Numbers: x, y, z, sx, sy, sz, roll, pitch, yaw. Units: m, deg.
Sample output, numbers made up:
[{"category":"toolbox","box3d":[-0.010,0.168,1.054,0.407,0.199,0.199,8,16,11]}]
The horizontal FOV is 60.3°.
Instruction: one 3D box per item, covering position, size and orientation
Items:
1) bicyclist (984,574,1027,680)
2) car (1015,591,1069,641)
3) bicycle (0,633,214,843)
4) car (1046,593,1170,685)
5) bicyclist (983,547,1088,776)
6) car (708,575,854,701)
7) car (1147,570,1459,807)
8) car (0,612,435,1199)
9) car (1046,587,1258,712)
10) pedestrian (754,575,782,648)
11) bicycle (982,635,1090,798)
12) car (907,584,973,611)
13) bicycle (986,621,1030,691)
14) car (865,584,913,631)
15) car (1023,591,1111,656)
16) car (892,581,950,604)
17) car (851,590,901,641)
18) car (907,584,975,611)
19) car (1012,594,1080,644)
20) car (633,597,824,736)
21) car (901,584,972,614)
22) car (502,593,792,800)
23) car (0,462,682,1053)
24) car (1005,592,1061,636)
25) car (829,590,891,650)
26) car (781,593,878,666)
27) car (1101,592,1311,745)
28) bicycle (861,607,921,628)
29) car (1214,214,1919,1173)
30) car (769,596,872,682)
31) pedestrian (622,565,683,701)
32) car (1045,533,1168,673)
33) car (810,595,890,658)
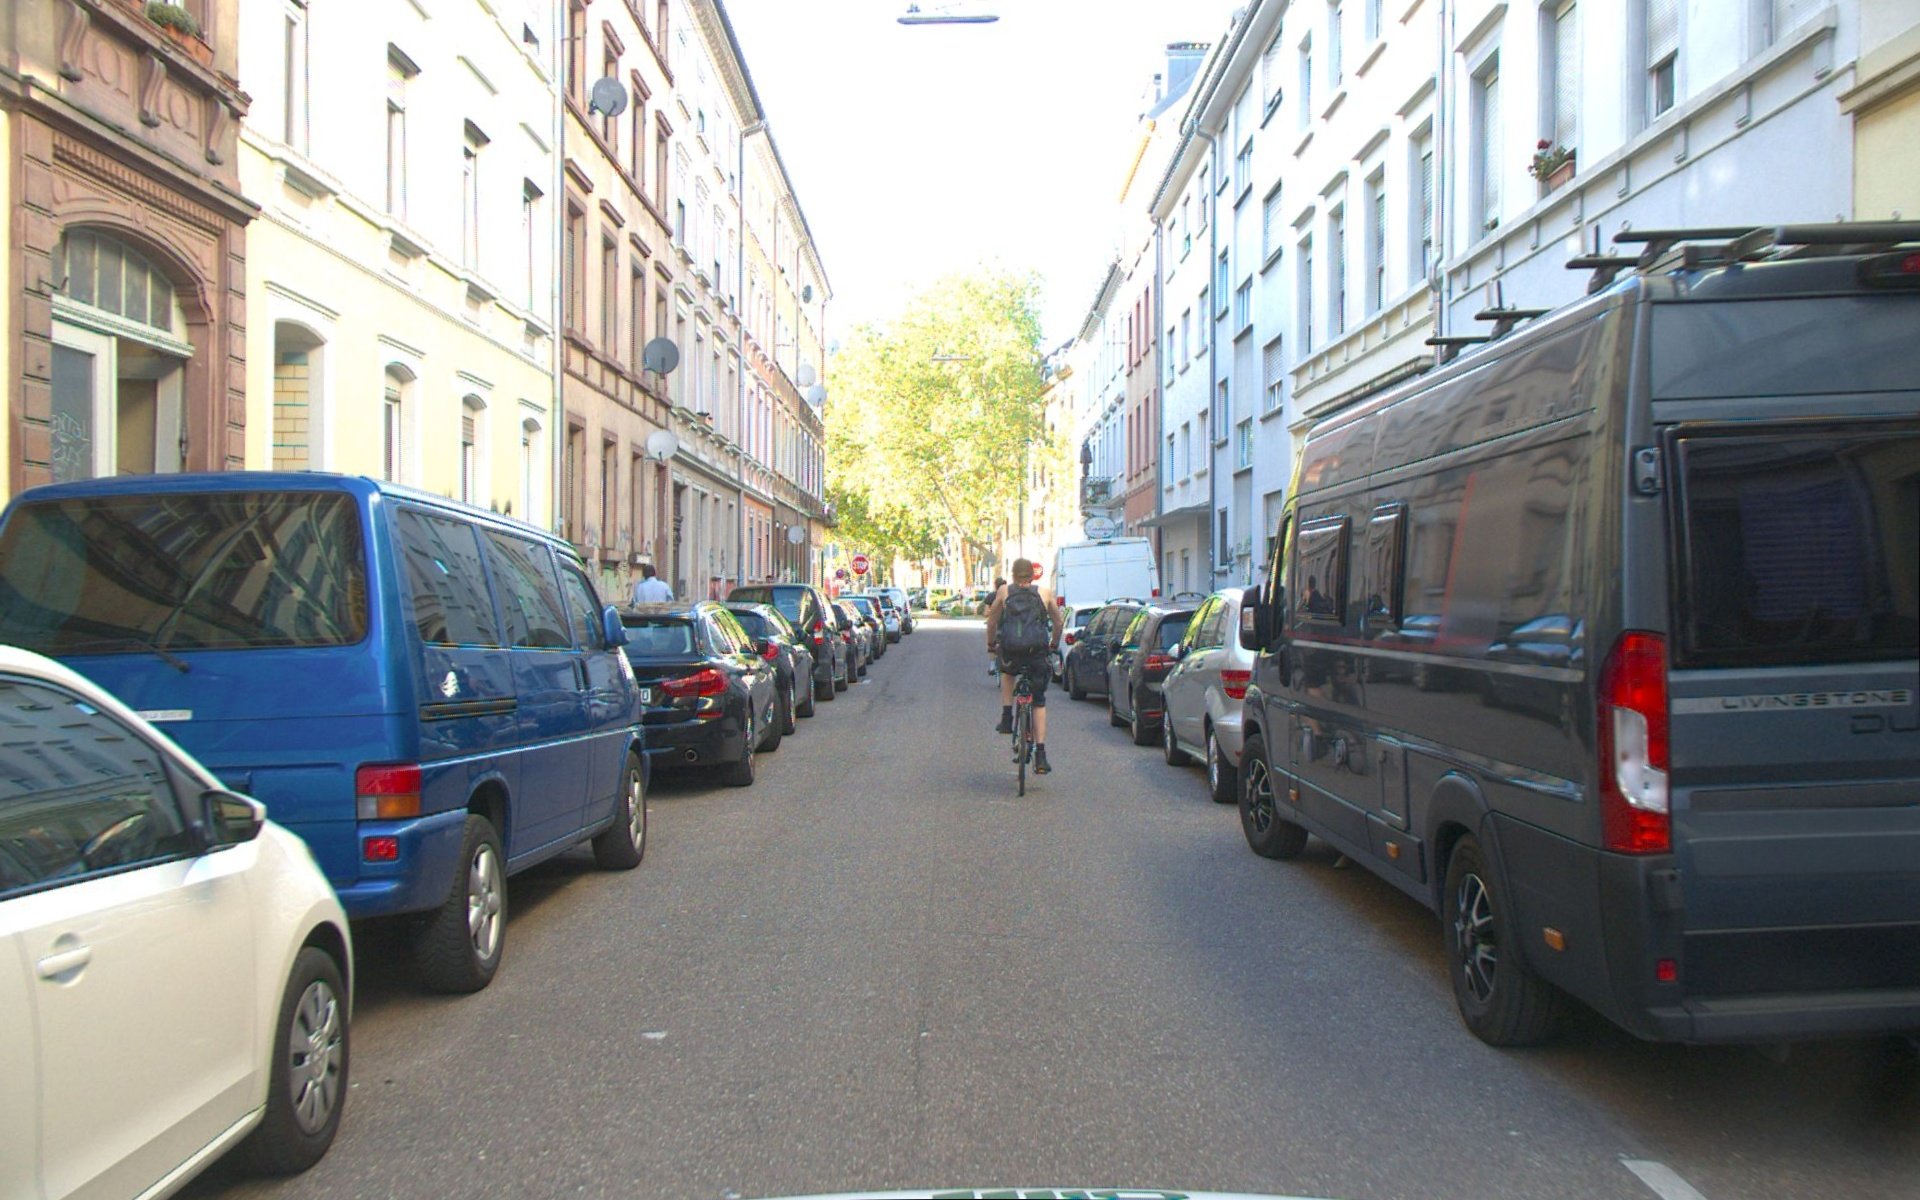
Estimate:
[{"category":"bicyclist","box3d":[0.736,0.432,26.954,0.656,1.687,0.877,-1,0,0]},{"category":"car","box3d":[2.618,0.481,53.392,1.559,1.518,3.876,-1,0,0]},{"category":"bicycle","box3d":[-5.380,0.770,10.004,0.739,1.038,2.029,3,0,1]},{"category":"car","box3d":[2.498,0.624,28.621,1.690,1.454,3.831,-1,0,-2]},{"category":"bicyclist","box3d":[0.575,0.462,12.999,0.725,1.708,1.116,1,0,-1]},{"category":"car","box3d":[-2.689,0.537,25.629,1.764,1.728,4.000,-3,0,0]},{"category":"car","box3d":[2.705,0.621,14.036,1.659,1.636,4.374,-2,0,-1]},{"category":"car","box3d":[-2.428,0.796,3.322,1.612,1.472,3.838,-1,0,-2]},{"category":"car","box3d":[2.649,0.629,23.985,1.778,1.503,4.598,-4,1,-10]},{"category":"pedestrian","box3d":[-5.048,0.307,43.606,0.598,1.890,0.754,2,0,-1]},{"category":"bicycle","box3d":[0.570,0.876,13.148,0.725,1.120,2.042,1,0,-1]},{"category":"car","box3d":[-1.398,-0.184,112.881,4.381,1.725,1.864,-1,0,-5]},{"category":"bicycle","box3d":[0.774,0.888,27.042,0.650,1.055,1.958,-1,0,0]},{"category":"car","box3d":[-2.753,0.261,65.180,1.751,1.767,3.875,-1,0,-1]},{"category":"car","box3d":[2.581,0.532,40.595,1.696,1.496,4.019,-1,0,-3]},{"category":"car","box3d":[-3.074,-0.556,129.407,4.381,1.725,1.864,-1,0,-5]},{"category":"car","box3d":[-2.702,0.468,52.979,1.513,1.578,3.463,-1,0,-3]},{"category":"car","box3d":[-1.262,-0.173,109.388,4.381,1.725,1.864,-1,0,-5]},{"category":"car","box3d":[2.474,0.524,48.299,1.624,1.361,3.999,-1,0,-2]},{"category":"car","box3d":[-2.634,0.705,19.670,1.701,1.452,4.000,-1,0,0]},{"category":"car","box3d":[-1.479,-0.076,104.662,4.381,1.790,1.864,-1,0,-5]},{"category":"car","box3d":[-2.556,0.705,14.609,1.824,1.465,4.643,-1,1,-2]},{"category":"car","box3d":[-2.652,0.524,7.915,1.790,1.924,4.613,-3,0,0]},{"category":"car","box3d":[2.558,0.470,58.849,1.676,1.496,3.999,-1,0,-2]},{"category":"car","box3d":[-2.737,0.527,45.603,1.572,1.556,3.377,-2,0,-2]},{"category":"car","box3d":[-2.744,0.595,35.584,1.639,1.455,3.889,-1,0,2]},{"category":"car","box3d":[2.658,0.676,18.787,1.710,1.511,4.242,-1,0,-1]},{"category":"bicycle","box3d":[-3.126,0.787,74.798,2.661,0.907,0.618,-1,0,-3]},{"category":"car","box3d":[2.765,0.200,7.466,2.131,2.467,6.308,-2,0,-1]},{"category":"car","box3d":[-2.525,0.675,30.609,1.559,1.465,3.654,-1,0,1]},{"category":"pedestrian","box3d":[-4.283,0.456,23.066,0.637,1.849,0.754,2,0,0]},{"category":"car","box3d":[2.907,0.041,34.067,2.159,2.595,6.037,-1,0,2]},{"category":"car","box3d":[-2.655,0.611,40.644,1.671,1.438,4.302,-1,0,0]}]
